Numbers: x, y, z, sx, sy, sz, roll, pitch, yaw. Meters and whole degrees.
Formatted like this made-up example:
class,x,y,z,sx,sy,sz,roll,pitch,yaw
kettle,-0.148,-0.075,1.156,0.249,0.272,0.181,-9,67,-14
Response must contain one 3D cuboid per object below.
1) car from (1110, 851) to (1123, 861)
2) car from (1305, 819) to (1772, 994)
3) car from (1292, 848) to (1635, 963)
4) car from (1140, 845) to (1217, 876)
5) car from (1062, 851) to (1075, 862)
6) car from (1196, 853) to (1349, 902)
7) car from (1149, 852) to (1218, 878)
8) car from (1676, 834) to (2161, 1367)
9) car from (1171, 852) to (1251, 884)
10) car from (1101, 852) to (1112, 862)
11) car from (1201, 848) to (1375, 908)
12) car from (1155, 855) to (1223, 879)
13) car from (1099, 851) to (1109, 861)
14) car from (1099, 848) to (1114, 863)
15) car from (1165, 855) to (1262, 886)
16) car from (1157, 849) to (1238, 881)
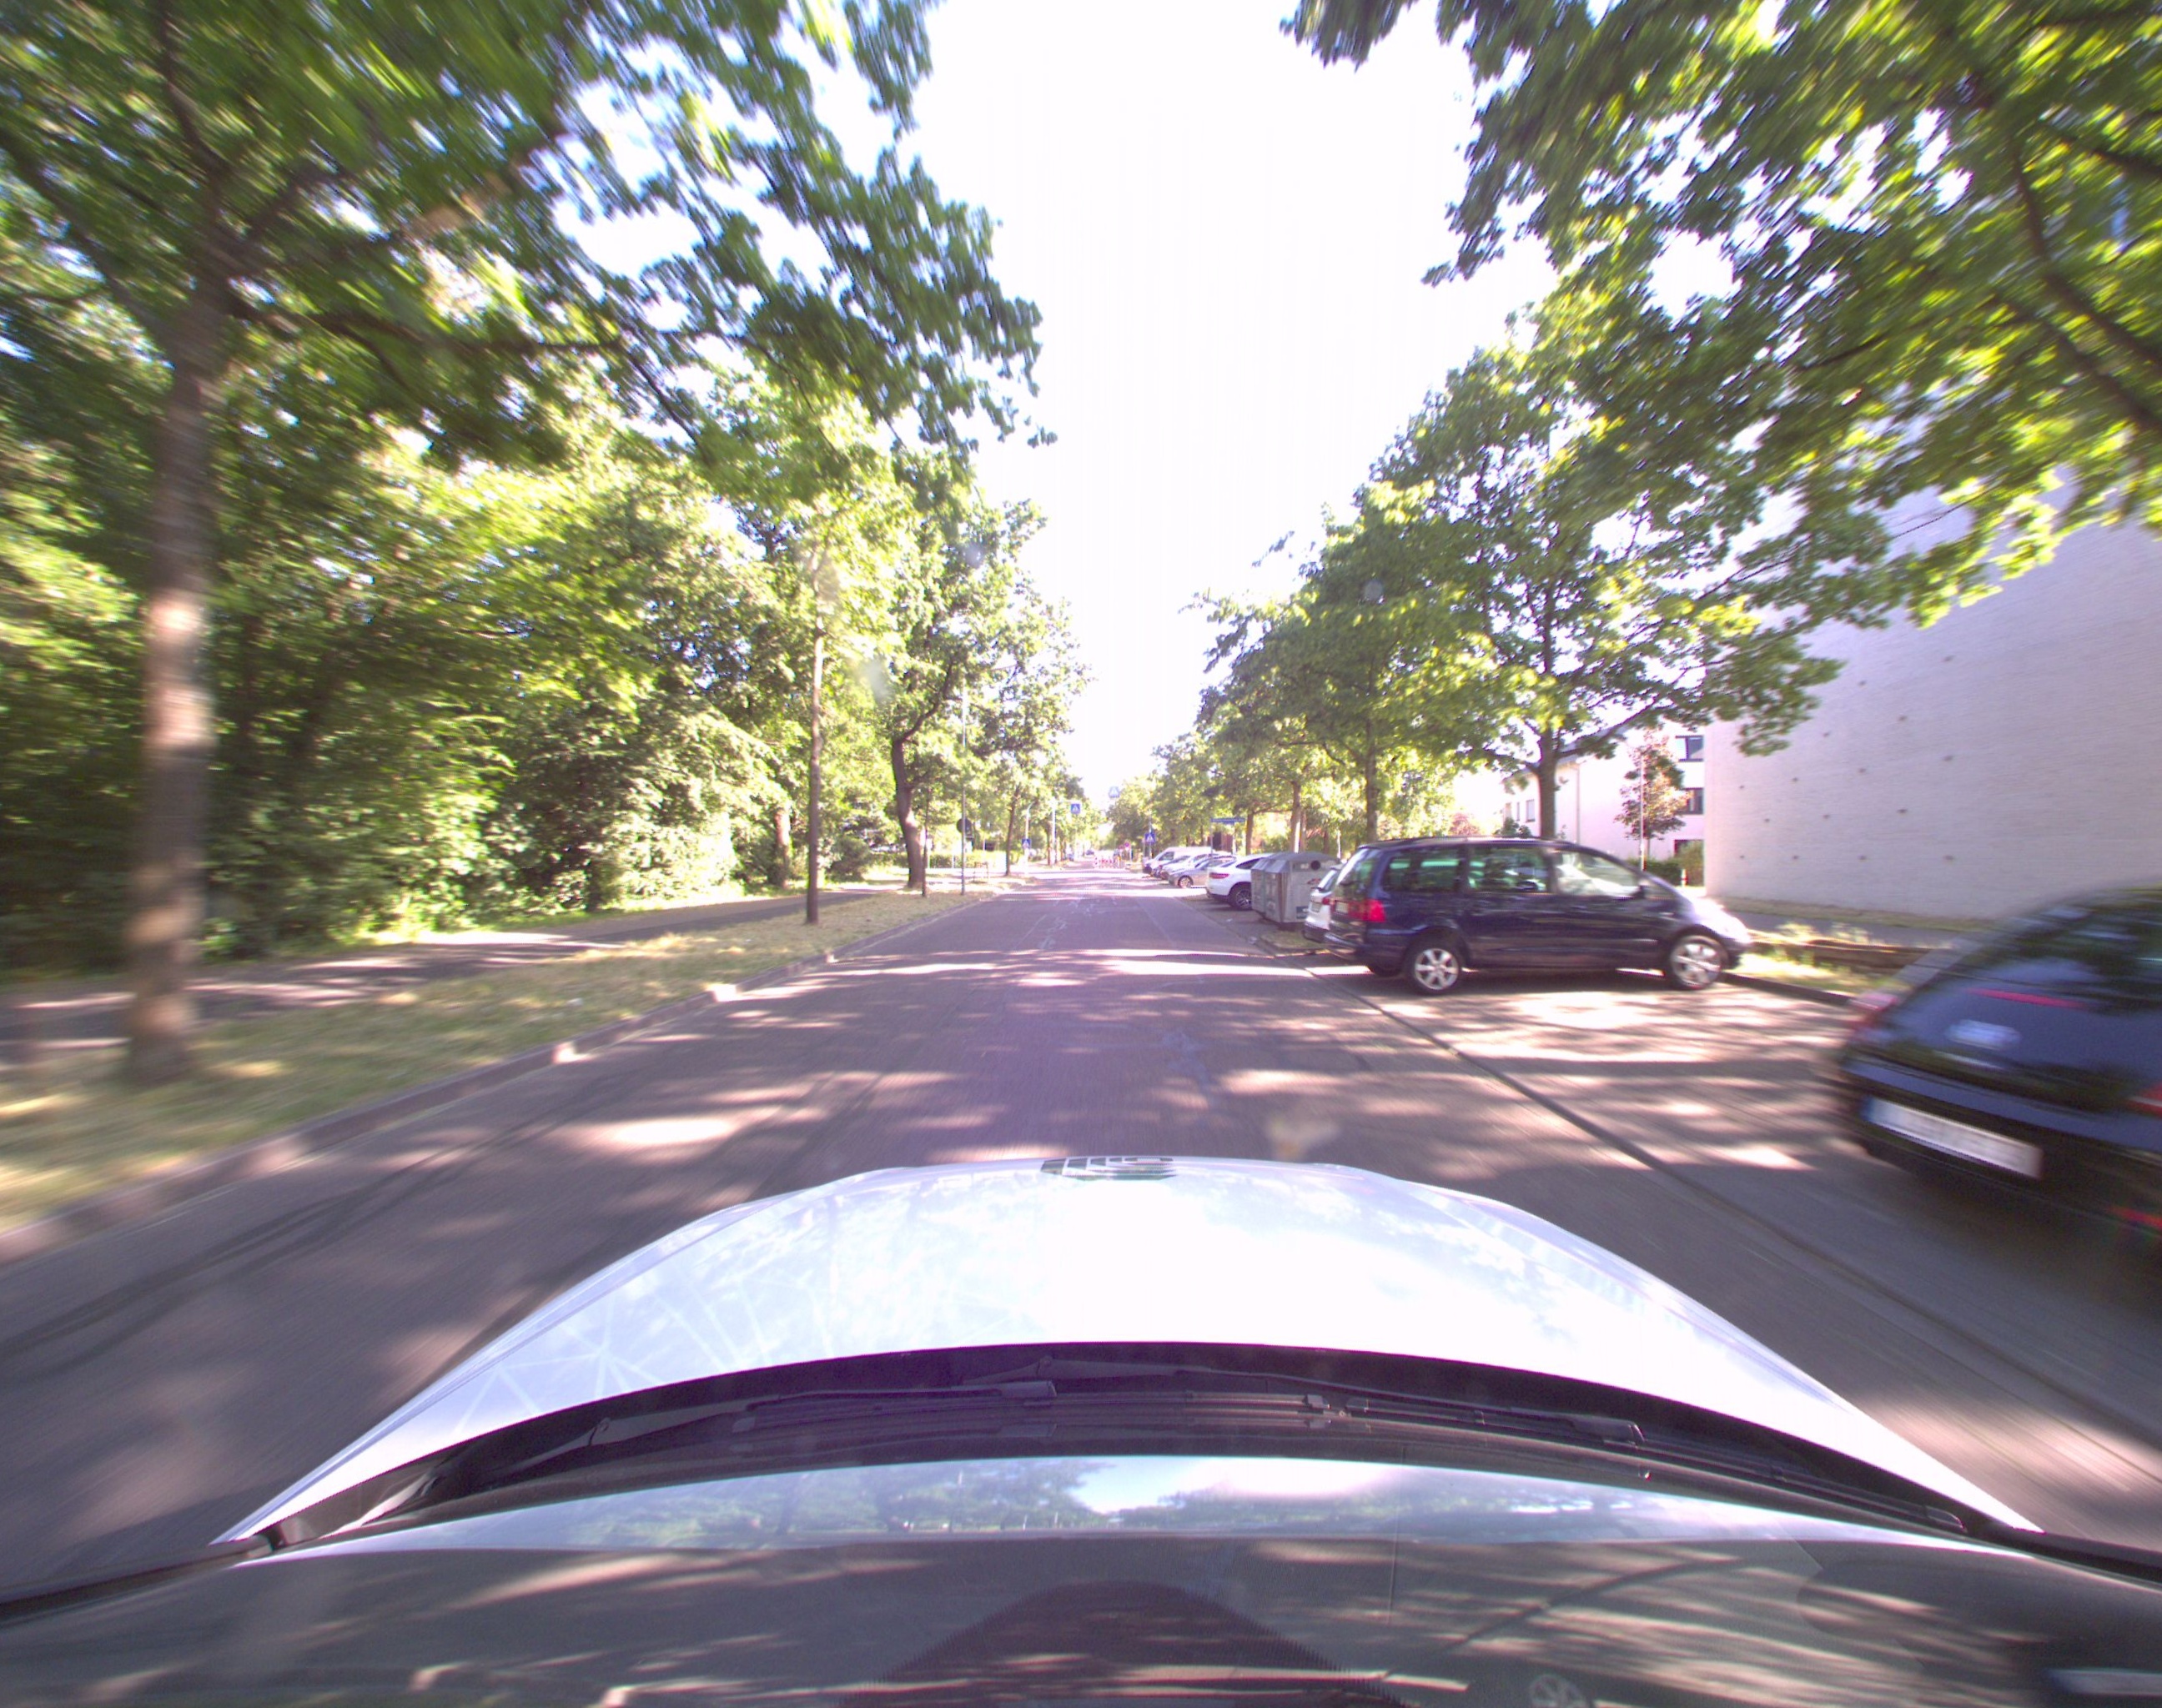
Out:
class,x,y,z,sx,sy,sz,roll,pitch,yaw
car,5.789,0.313,134.009,1.986,1.716,4.001,1,0,1
car,5.220,0.573,9.805,4.513,1.801,1.937,-1,0,1
car,5.438,0.709,12.029,4.203,1.472,1.801,-2,0,3
car,6.785,0.430,57.182,5.170,2.105,2.082,0,0,0
car,-2.118,0.432,140.436,1.986,1.716,4.001,1,0,1
car,6.318,0.747,27.228,4.654,1.455,1.917,-2,0,0
car,6.510,0.684,52.026,4.199,1.568,1.933,1,0,-1
car,5.245,0.664,3.225,4.228,1.519,2.079,-1,0,2
car,6.700,0.703,42.242,3.871,1.497,1.777,-2,0,0
car,4.630,0.562,149.790,1.986,1.716,4.001,1,0,1
car,5.985,0.671,23.961,4.653,1.580,1.918,-2,0,2
car,6.514,0.785,49.406,3.970,1.433,1.902,0,0,3
car,4.660,0.455,163.615,1.986,1.968,4.001,1,0,1
car,3.471,0.204,113.045,1.986,1.933,4.001,1,0,1
car,6.336,0.775,39.264,4.429,1.390,1.912,-1,0,1
car,6.639,0.599,46.868,4.370,1.651,1.850,-2,0,-1
